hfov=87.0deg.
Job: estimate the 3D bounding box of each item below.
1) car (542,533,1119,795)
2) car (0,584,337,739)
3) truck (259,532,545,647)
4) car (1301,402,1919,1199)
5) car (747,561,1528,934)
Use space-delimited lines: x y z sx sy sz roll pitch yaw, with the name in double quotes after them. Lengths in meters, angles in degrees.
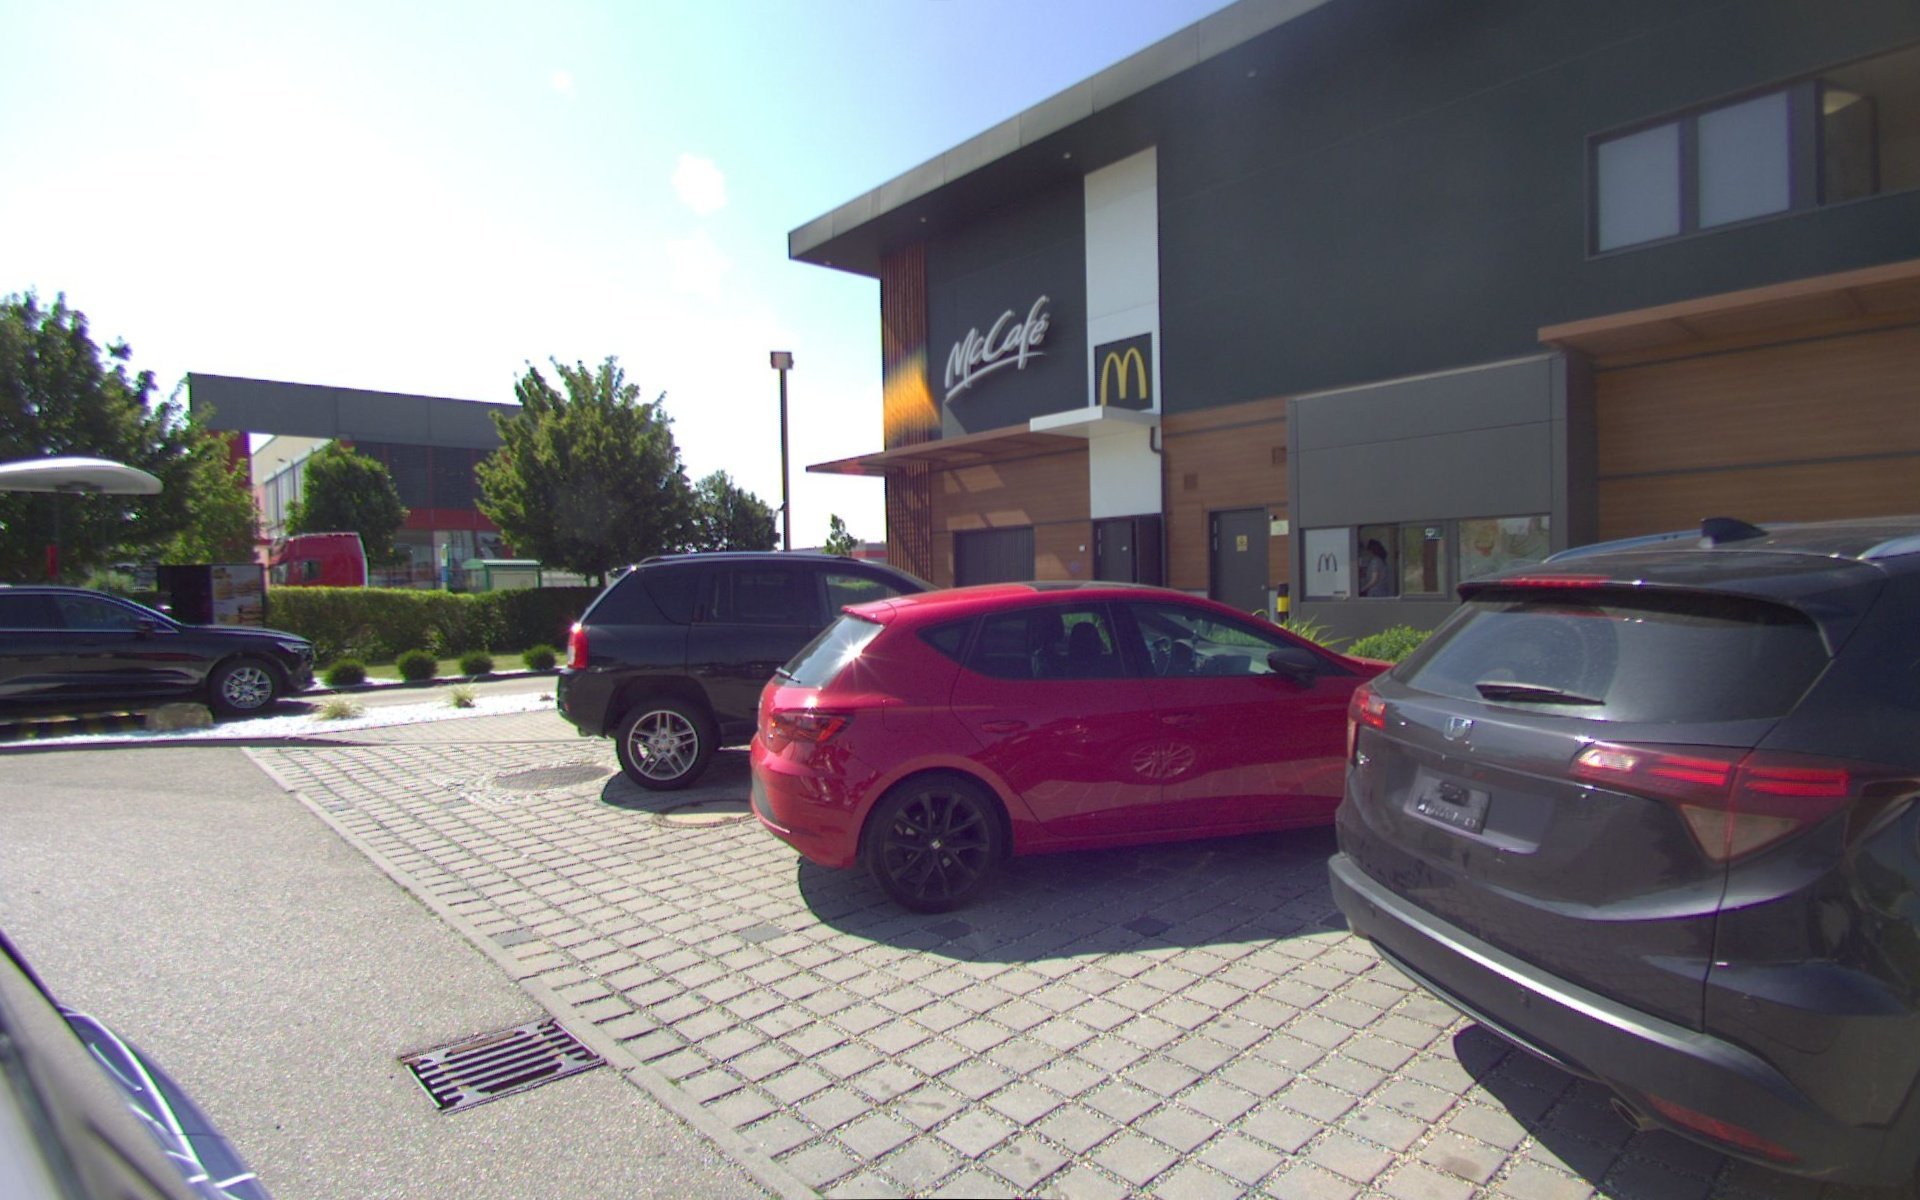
-0.934 0.425 7.933 3.979 1.718 1.677 -2 1 -4 "car"
-10.517 0.667 12.031 4.989 1.642 1.926 -1 0 -44 "car"
-20.958 -0.419 38.465 8.991 3.895 3.214 -1 0 -42 "truck"
3.151 0.473 2.763 3.782 1.644 1.762 -1 0 -9 "car"
0.804 0.592 5.420 3.709 1.455 1.679 -2 0 -14 "car"
